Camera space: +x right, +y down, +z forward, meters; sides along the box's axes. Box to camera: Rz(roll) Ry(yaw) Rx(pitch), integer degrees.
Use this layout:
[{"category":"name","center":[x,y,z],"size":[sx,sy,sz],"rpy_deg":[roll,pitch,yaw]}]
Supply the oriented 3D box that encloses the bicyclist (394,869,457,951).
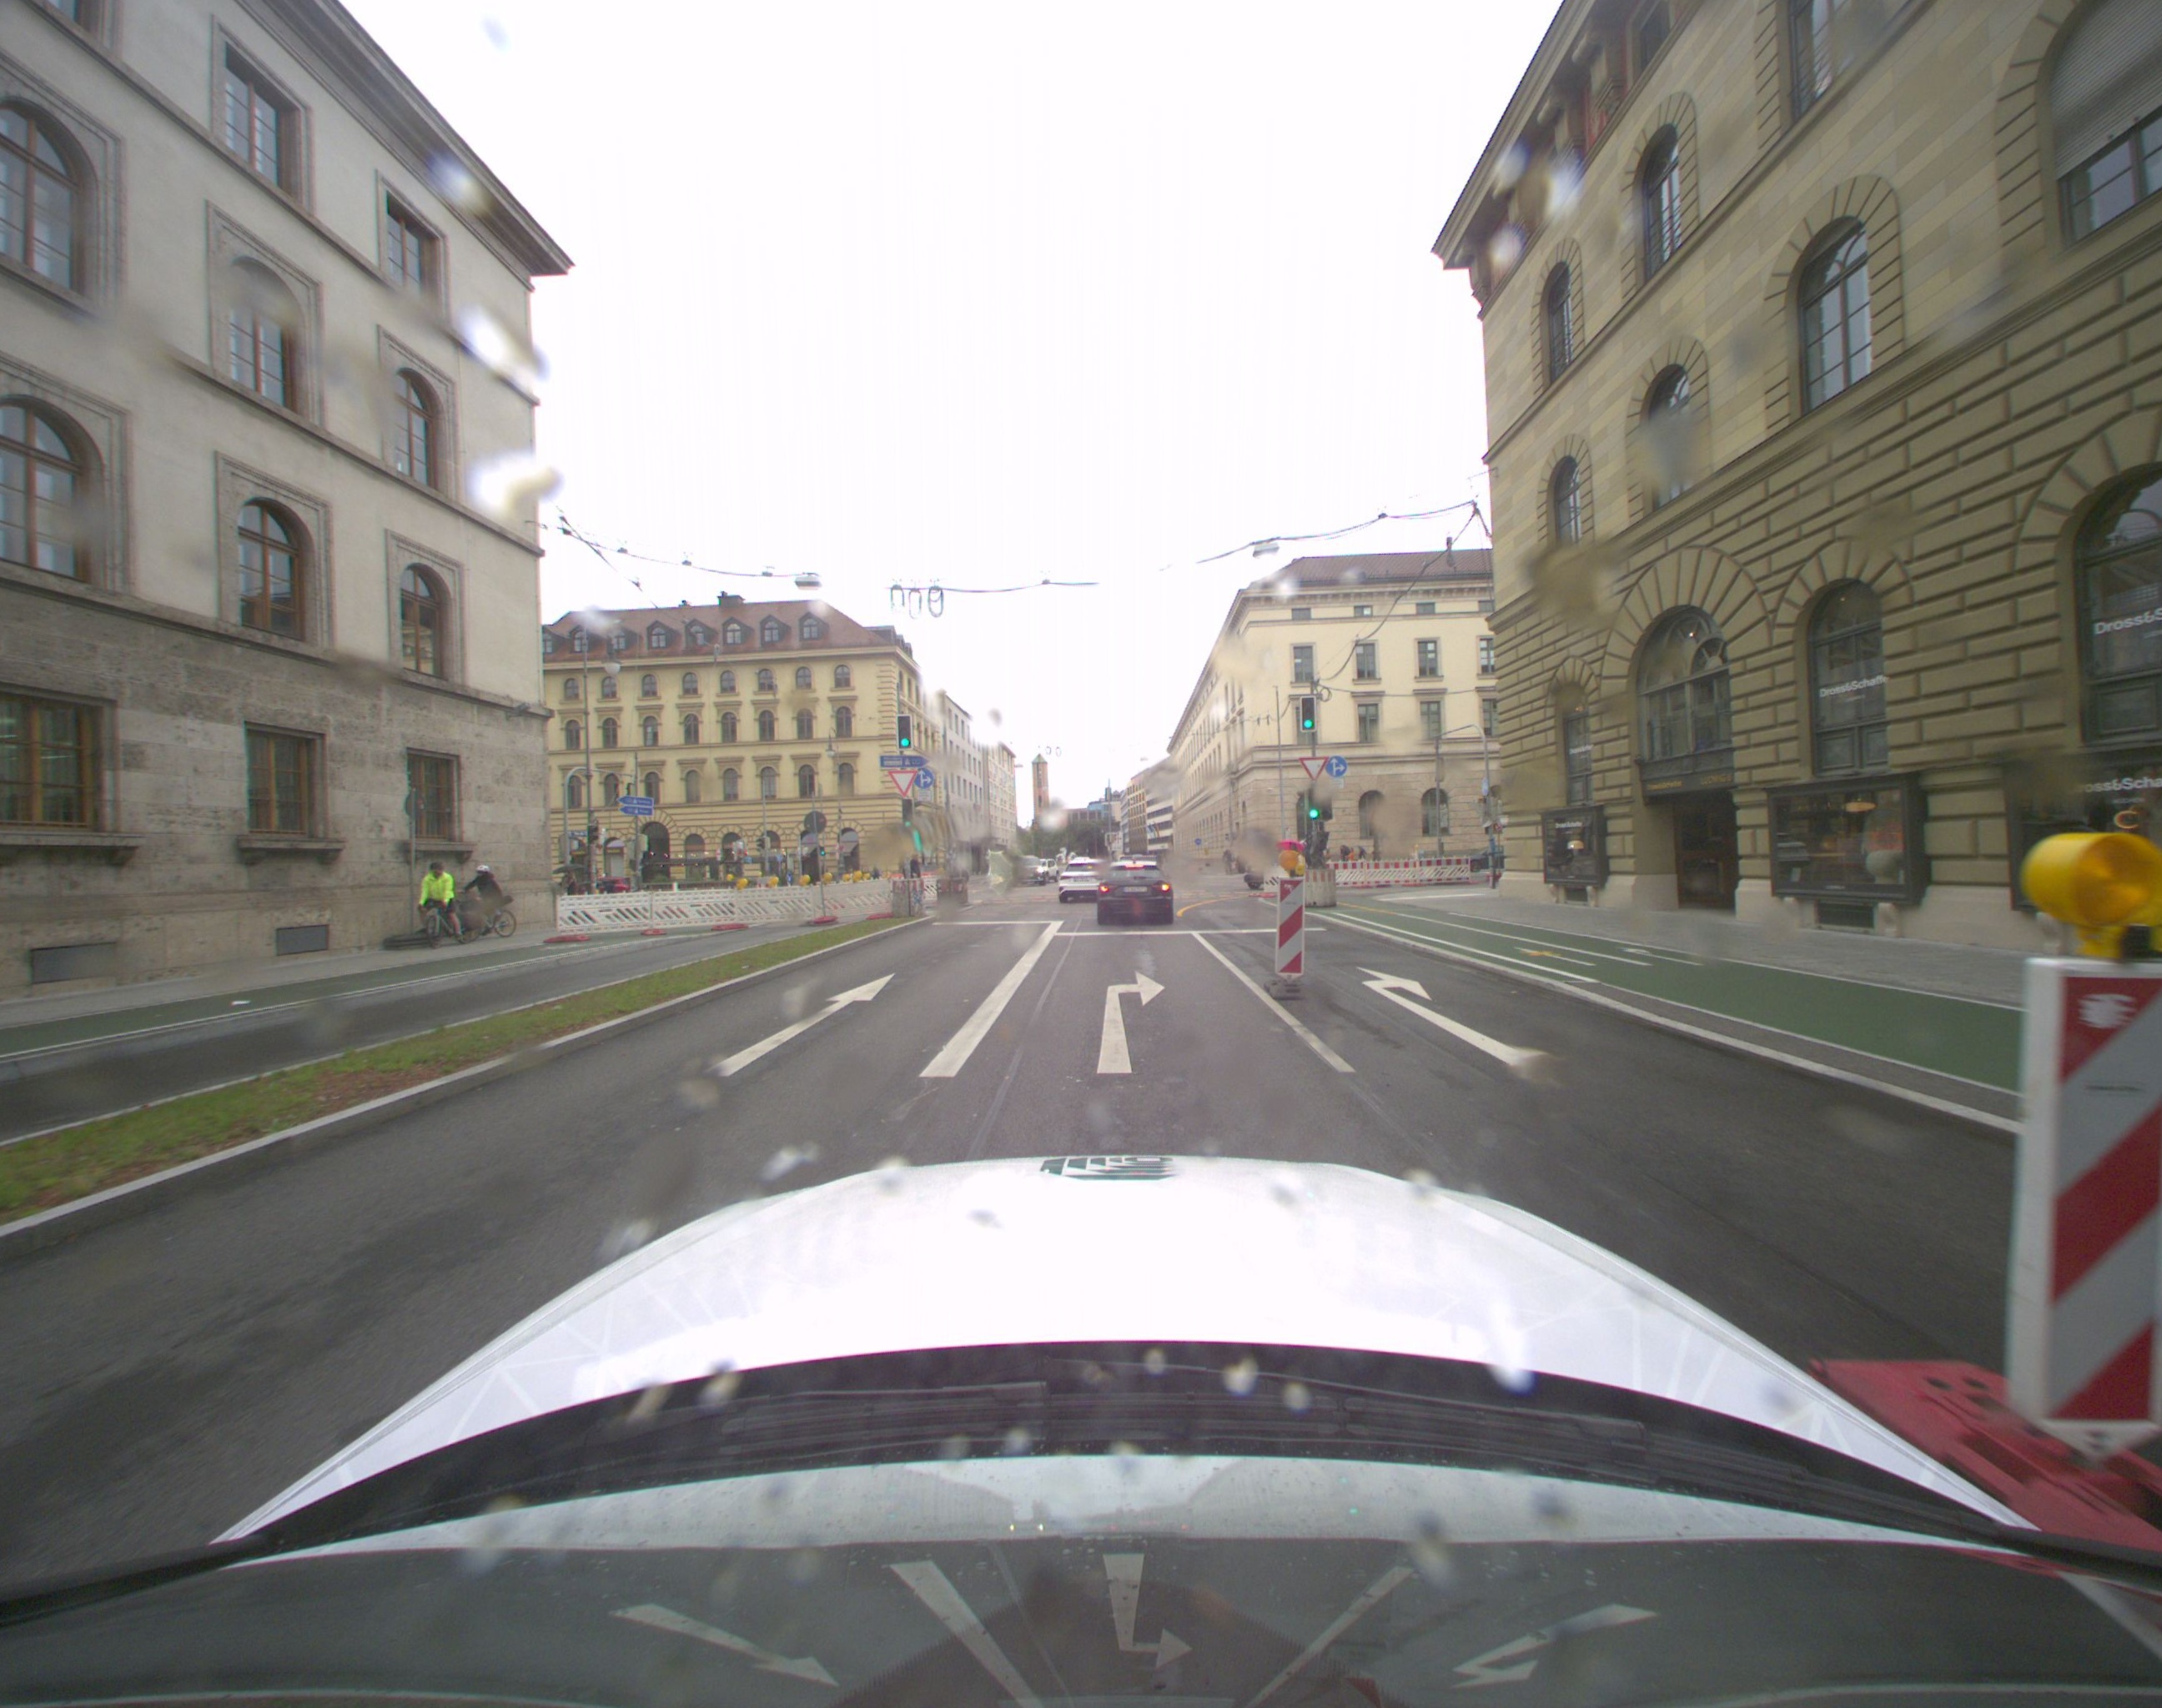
[{"category":"bicyclist","center":[-14.362,1.213,17.856],"size":[0.794,1.748,0.690],"rpy_deg":[-1,0,6]}]

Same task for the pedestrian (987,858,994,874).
[{"category":"pedestrian","center":[-10.385,1.409,93.454],"size":[0.734,1.772,0.736],"rpy_deg":[-1,0,1]}]

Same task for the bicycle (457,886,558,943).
[{"category":"bicycle","center":[-14.287,1.476,20.384],"size":[0.783,1.242,2.203],"rpy_deg":[-1,0,7]}]

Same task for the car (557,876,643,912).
[{"category":"car","center":[-27.597,2.261,46.823],"size":[3.743,1.798,1.861],"rpy_deg":[-2,-1,-12]}]

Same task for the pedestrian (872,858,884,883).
[{"category":"pedestrian","center":[-14.545,1.206,58.364],"size":[0.733,1.772,0.737],"rpy_deg":[-1,0,-8]}]

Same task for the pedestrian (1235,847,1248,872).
[{"category":"pedestrian","center":[11.470,0.420,58.281],"size":[0.578,1.755,0.825],"rpy_deg":[-1,0,33]}]

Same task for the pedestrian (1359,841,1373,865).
[{"category":"pedestrian","center":[20.065,-0.053,57.425],"size":[0.712,1.694,0.821],"rpy_deg":[-1,0,3]}]

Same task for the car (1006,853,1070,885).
[{"category":"car","center":[-2.511,0.866,48.828],"size":[1.977,1.734,4.611],"rpy_deg":[-3,0,23]}]

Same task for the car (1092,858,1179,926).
[{"category":"car","center":[1.244,0.829,19.576],"size":[1.856,1.388,4.002],"rpy_deg":[-1,0,2]}]

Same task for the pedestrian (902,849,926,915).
[{"category":"pedestrian","center":[-4.582,0.759,22.410],"size":[0.512,1.743,1.040],"rpy_deg":[-2,0,-8]}]

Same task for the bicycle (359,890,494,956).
[{"category":"bicycle","center":[-14.343,1.474,17.967],"size":[0.783,1.242,2.453],"rpy_deg":[-1,0,7]}]

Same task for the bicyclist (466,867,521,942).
[{"category":"bicyclist","center":[-14.347,1.214,19.893],"size":[0.794,1.776,0.690],"rpy_deg":[-1,0,6]}]

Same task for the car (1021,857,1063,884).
[{"category":"car","center":[-2.630,1.082,56.036],"size":[1.781,1.677,4.247],"rpy_deg":[-3,0,12]}]

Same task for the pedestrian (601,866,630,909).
[{"category":"pedestrian","center":[-19.469,1.393,34.061],"size":[0.733,1.772,0.737],"rpy_deg":[-1,0,3]}]

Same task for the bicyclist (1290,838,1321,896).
[{"category":"bicyclist","center":[7.313,0.418,26.533],"size":[0.789,1.854,0.571],"rpy_deg":[-1,0,44]}]

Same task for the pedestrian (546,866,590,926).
[{"category":"pedestrian","center":[-15.561,1.267,24.731],"size":[0.837,1.772,0.742],"rpy_deg":[-1,0,18]}]

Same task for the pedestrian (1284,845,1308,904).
[{"category":"pedestrian","center":[6.032,0.557,22.855],"size":[0.529,1.620,0.674],"rpy_deg":[-1,0,4]}]

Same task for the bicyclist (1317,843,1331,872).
[{"category":"bicyclist","center":[15.675,0.226,52.494],"size":[0.740,1.842,0.661],"rpy_deg":[-1,0,5]}]

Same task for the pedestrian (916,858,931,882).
[{"category":"pedestrian","center":[-11.457,1.169,59.222],"size":[0.727,1.772,0.743],"rpy_deg":[-1,0,23]}]

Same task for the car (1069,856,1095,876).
[{"category":"car","center":[0.141,0.999,68.309],"size":[1.986,1.524,4.234],"rpy_deg":[-2,0,1]}]

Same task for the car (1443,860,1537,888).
[{"category":"car","center":[22.180,1.089,44.242],"size":[4.210,1.388,1.750],"rpy_deg":[-1,-2,1]}]

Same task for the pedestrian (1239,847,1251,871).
[{"category":"pedestrian","center":[11.900,0.362,59.004],"size":[0.578,1.755,0.825],"rpy_deg":[-1,0,33]}]

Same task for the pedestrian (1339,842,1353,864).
[{"category":"pedestrian","center":[18.857,-0.051,57.961],"size":[0.662,1.527,0.820],"rpy_deg":[-1,0,1]}]

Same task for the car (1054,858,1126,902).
[{"category":"car","center":[0.418,0.860,28.898],"size":[1.802,1.424,4.465],"rpy_deg":[-1,0,10]}]

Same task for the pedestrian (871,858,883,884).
[{"category":"pedestrian","center":[-14.438,1.211,57.620],"size":[0.733,1.772,0.737],"rpy_deg":[-1,0,-8]}]

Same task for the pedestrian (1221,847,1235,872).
[{"category":"pedestrian","center":[10.457,0.360,57.967],"size":[0.810,1.755,0.683],"rpy_deg":[-1,0,18]}]

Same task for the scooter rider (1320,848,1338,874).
[{"category":"scooter rider","center":[15.700,0.425,51.619],"size":[0.928,1.622,0.593],"rpy_deg":[-1,0,3]}]

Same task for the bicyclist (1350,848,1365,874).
[{"category":"bicyclist","center":[17.804,0.452,52.511],"size":[0.740,1.615,0.796],"rpy_deg":[-1,0,5]}]

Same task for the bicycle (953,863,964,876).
[{"category":"bicycle","center":[-12.143,1.510,80.610],"size":[0.595,1.243,2.201],"rpy_deg":[-1,-1,5]}]

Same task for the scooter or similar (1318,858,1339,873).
[{"category":"scooter or similar","center":[15.683,0.730,51.616],"size":[1.205,0.965,0.588],"rpy_deg":[-1,0,3]}]

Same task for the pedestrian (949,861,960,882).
[{"category":"pedestrian","center":[-10.926,1.491,70.426],"size":[0.734,1.772,0.736],"rpy_deg":[-1,0,1]}]

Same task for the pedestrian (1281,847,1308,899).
[{"category":"pedestrian","center":[6.525,0.580,24.888],"size":[0.699,1.567,0.542],"rpy_deg":[-1,0,4]}]

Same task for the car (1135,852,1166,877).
[{"category":"car","center":[4.671,0.692,55.160],"size":[1.858,1.601,3.852],"rpy_deg":[-2,0,2]}]

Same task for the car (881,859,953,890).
[{"category":"car","center":[-10.204,1.253,50.804],"size":[4.022,1.720,1.801],"rpy_deg":[-2,0,-42]}]

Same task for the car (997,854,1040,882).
[{"category":"car","center":[-4.799,1.050,63.603],"size":[2.224,2.013,4.462],"rpy_deg":[-2,0,10]}]

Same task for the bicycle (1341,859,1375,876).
[{"category":"bicycle","center":[17.854,0.870,52.505],"size":[1.949,1.040,0.796],"rpy_deg":[-1,0,4]}]
